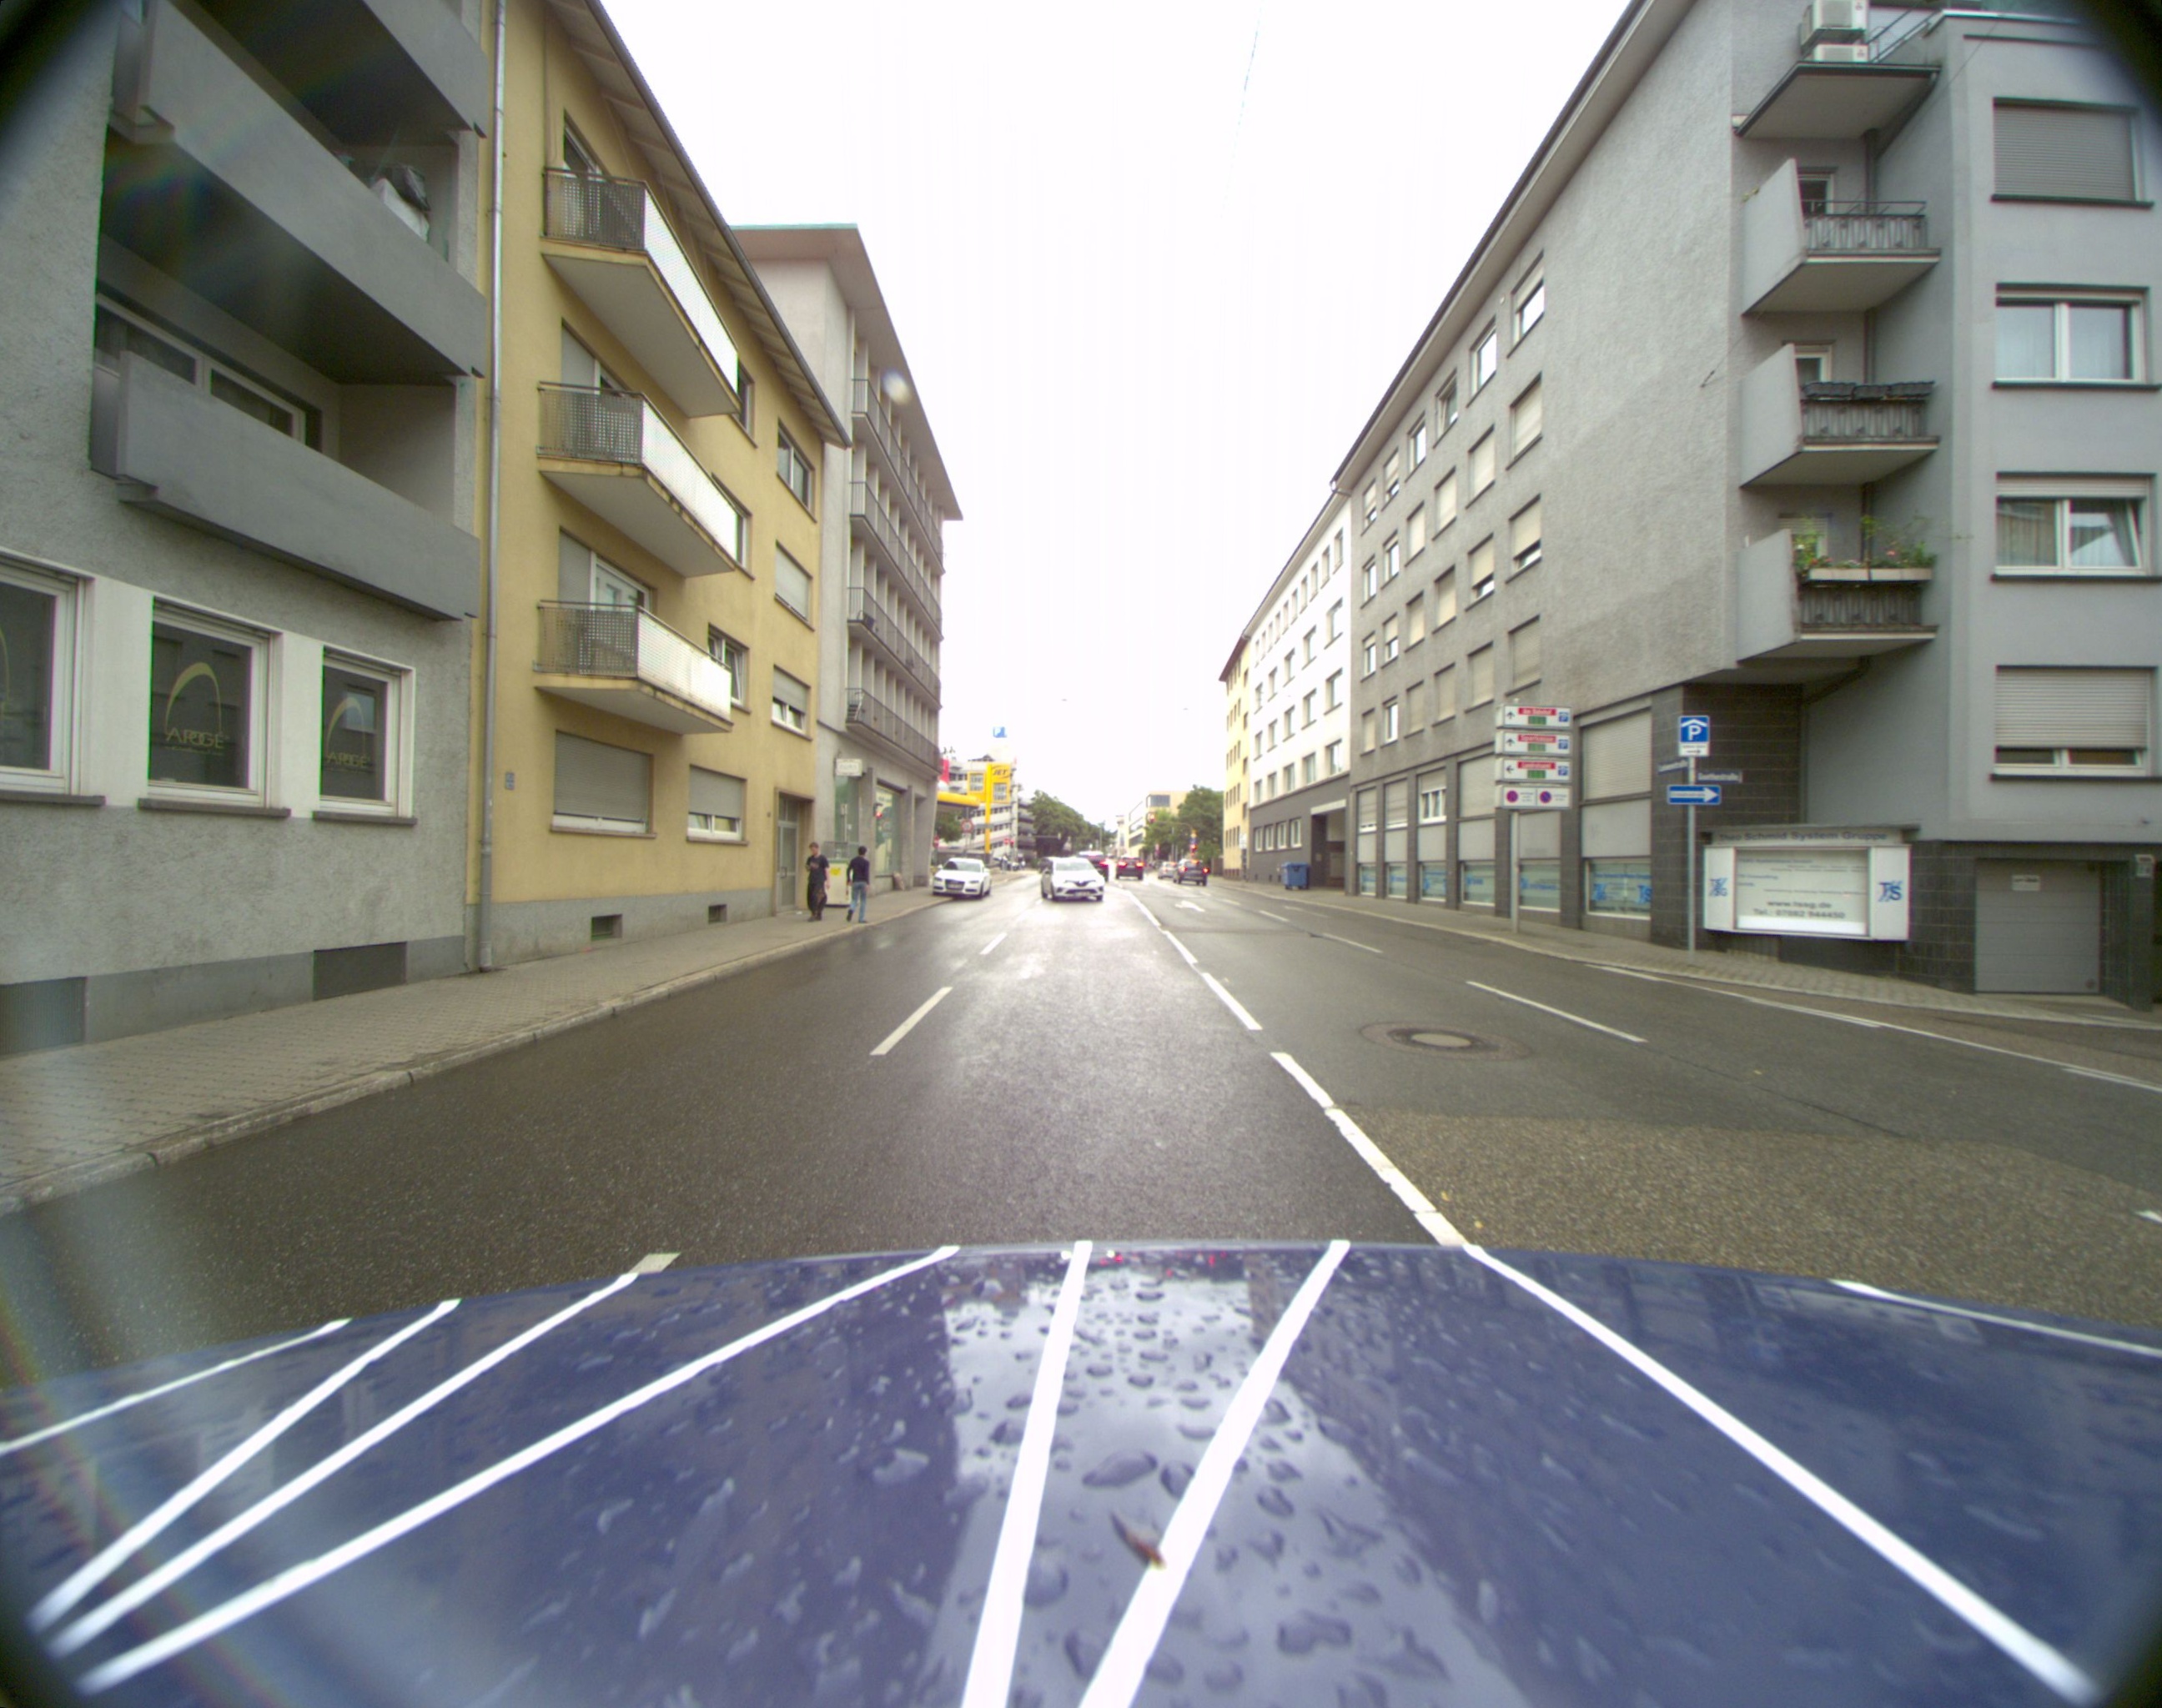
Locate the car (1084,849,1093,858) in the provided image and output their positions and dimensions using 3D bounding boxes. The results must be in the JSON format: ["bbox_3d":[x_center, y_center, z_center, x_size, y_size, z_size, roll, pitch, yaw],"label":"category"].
[{"bbox_3d":[1.702,-0.200,178.779,1.998,2.002,3.999,-2,1,1],"label":"car"}]

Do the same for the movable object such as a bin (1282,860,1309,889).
[{"bbox_3d":[10.374,1.001,36.805,0.946,1.325,1.096,-3,1,1],"label":"movable object such as a bin"}]

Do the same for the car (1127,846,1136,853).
[{"bbox_3d":[12.845,-1.095,192.902,1.998,1.683,4.000,-2,1,2],"label":"car"}]

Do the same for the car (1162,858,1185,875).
[{"bbox_3d":[9.909,1.298,81.946,1.998,1.672,4.000,1,0,1],"label":"car"}]

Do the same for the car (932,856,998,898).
[{"bbox_3d":[-4.367,0.820,29.075,1.803,1.427,4.166,1,0,1],"label":"car"}]

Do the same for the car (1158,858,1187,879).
[{"bbox_3d":[7.415,1.168,62.140,1.883,1.580,4.373,0,0,1],"label":"car"}]

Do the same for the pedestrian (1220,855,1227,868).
[{"bbox_3d":[13.107,0.684,69.865,0.582,1.143,0.407,3,1,2],"label":"pedestrian"}]

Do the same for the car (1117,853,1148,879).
[{"bbox_3d":[3.630,0.801,53.878,1.841,1.717,4.474,3,0,0],"label":"car"}]

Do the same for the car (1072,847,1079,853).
[{"bbox_3d":[-1.897,-1.327,257.737,1.998,1.827,3.999,-2,1,1],"label":"car"}]

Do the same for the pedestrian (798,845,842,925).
[{"bbox_3d":[-5.874,0.674,17.147,0.679,1.745,0.888,1,1,-1],"label":"pedestrian"}]

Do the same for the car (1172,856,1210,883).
[{"bbox_3d":[6.826,0.926,47.517,1.707,1.498,4.159,3,0,0],"label":"car"}]

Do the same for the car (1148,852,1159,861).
[{"bbox_3d":[16.163,0.574,170.061,1.998,1.863,3.999,-2,1,0],"label":"car"}]

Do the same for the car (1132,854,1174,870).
[{"bbox_3d":[7.360,0.834,77.622,3.999,1.485,1.771,-2,1,-6],"label":"car"}]

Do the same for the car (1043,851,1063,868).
[{"bbox_3d":[-2.713,0.507,74.715,1.771,1.638,4.000,2,0,0],"label":"car"}]

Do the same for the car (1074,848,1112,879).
[{"bbox_3d":[0.677,0.542,46.244,2.132,1.711,4.817,2,0,0],"label":"car"}]

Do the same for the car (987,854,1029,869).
[{"bbox_3d":[-7.723,0.779,80.084,3.994,1.436,1.773,-2,1,10],"label":"car"}]

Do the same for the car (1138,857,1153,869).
[{"bbox_3d":[9.564,1.310,112.699,1.883,1.580,4.373,0,0,1],"label":"car"}]

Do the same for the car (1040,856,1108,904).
[{"bbox_3d":[-0.326,0.841,26.640,1.772,1.465,3.997,-2,0,-9],"label":"car"}]

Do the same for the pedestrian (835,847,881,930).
[{"bbox_3d":[-4.985,0.750,17.075,0.644,1.768,1.056,3,1,0],"label":"pedestrian"}]
